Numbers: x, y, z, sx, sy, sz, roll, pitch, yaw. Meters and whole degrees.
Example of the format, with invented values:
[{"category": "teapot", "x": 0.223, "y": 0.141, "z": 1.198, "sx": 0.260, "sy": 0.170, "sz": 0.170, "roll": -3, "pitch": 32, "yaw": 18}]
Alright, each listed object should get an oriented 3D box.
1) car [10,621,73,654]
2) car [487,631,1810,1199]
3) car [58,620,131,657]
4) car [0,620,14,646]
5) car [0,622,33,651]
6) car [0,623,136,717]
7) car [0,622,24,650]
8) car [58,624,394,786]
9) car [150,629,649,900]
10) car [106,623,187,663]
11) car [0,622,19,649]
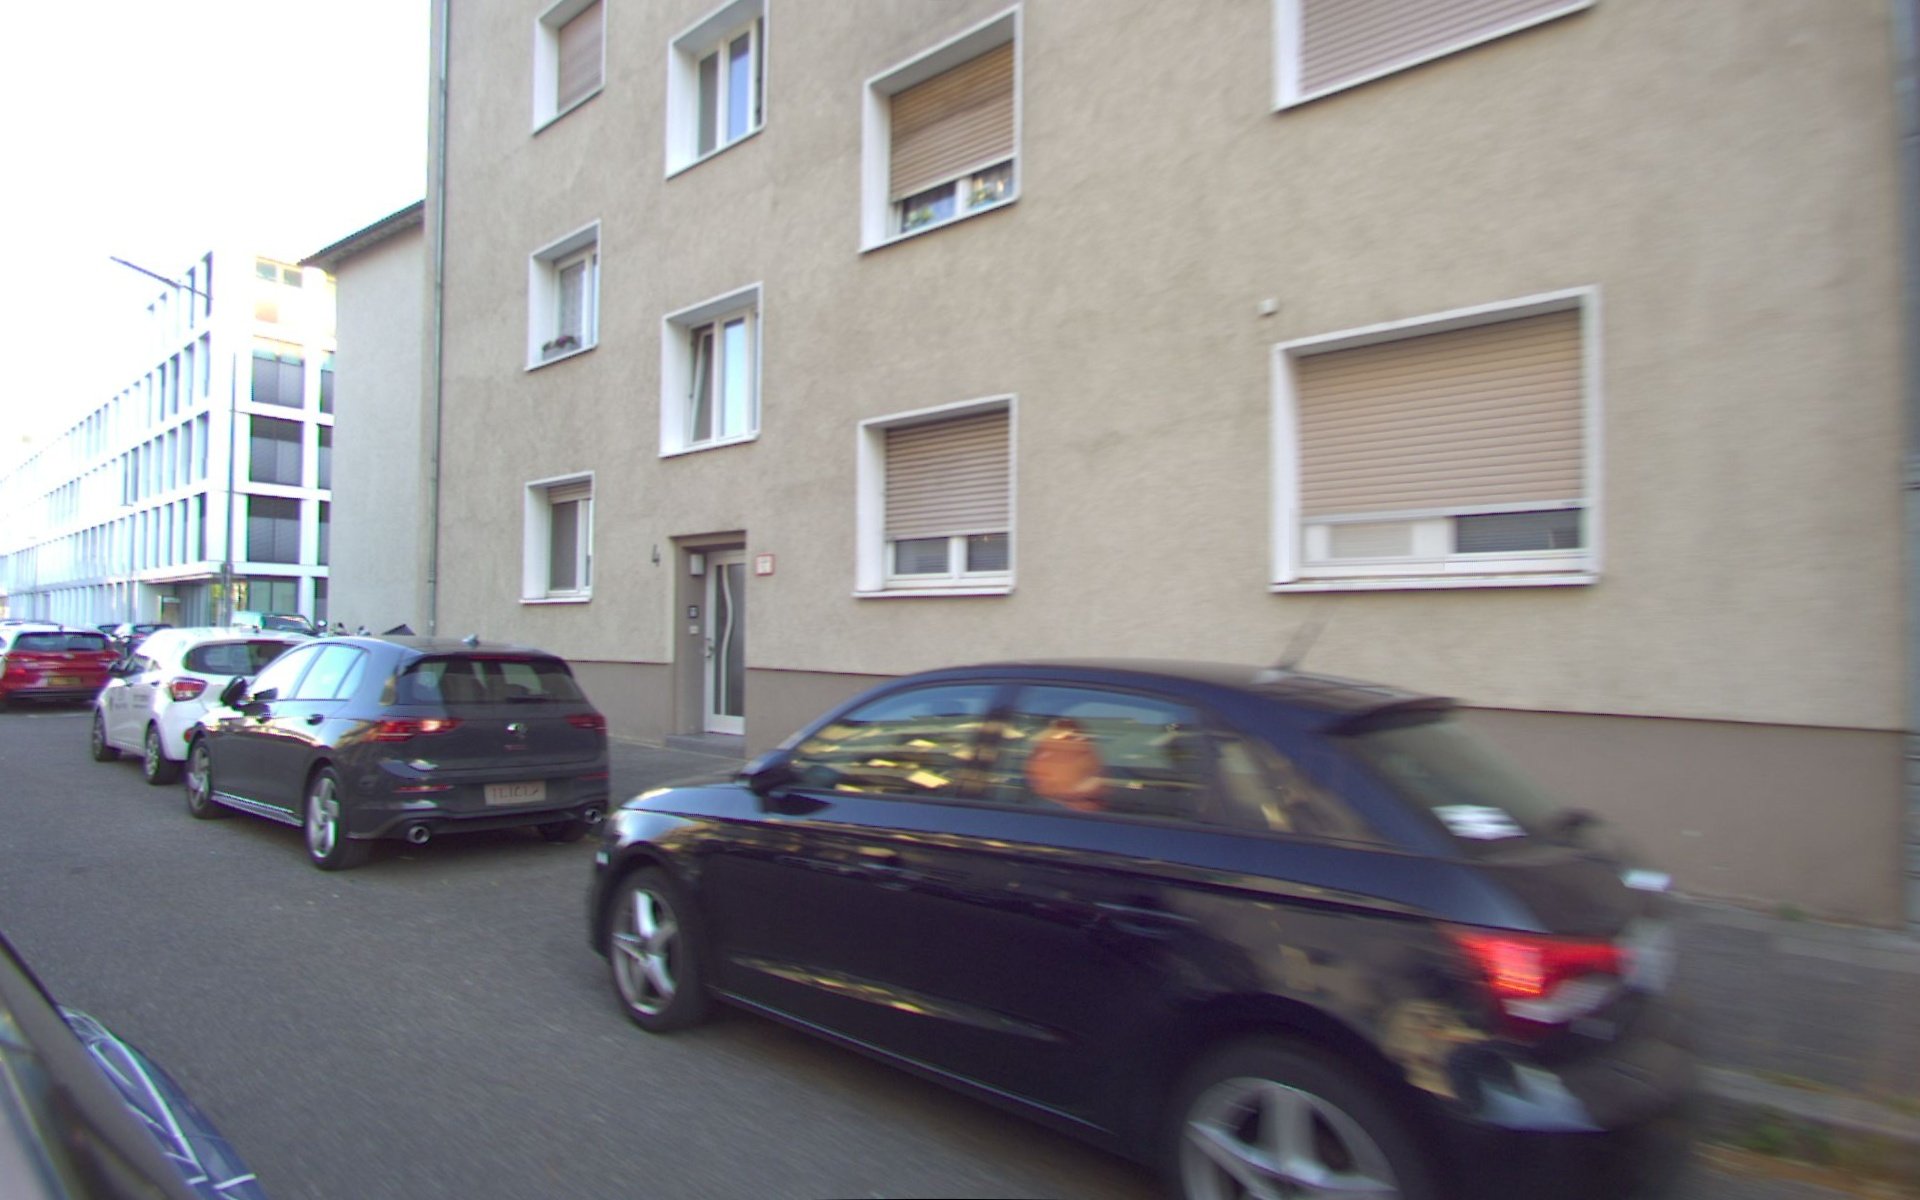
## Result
[{"category": "car", "x": -44.969, "y": 1.818, "z": 49.507, "sx": 4.001, "sy": 1.530, "sz": 1.971, "roll": -1, "pitch": -2, "yaw": 44}, {"category": "car", "x": 0.247, "y": 0.855, "z": 3.754, "sx": 4.428, "sy": 1.455, "sz": 1.973, "roll": -1, "pitch": -2, "yaw": 40}, {"category": "car", "x": -37.348, "y": 1.638, "z": 43.621, "sx": 4.001, "sy": 1.497, "sz": 1.971, "roll": -1, "pitch": -2, "yaw": 44}, {"category": "car", "x": -57.078, "y": 1.895, "z": 58.041, "sx": 2.000, "sy": 1.497, "sz": 3.943, "roll": -1, "pitch": -2, "yaw": 43}, {"category": "car", "x": -51.744, "y": 1.923, "z": 53.475, "sx": 2.000, "sy": 1.497, "sz": 3.943, "roll": -1, "pitch": -2, "yaw": 43}, {"category": "car", "x": -16.593, "y": 1.166, "z": 18.150, "sx": 4.427, "sy": 1.501, "sz": 1.974, "roll": -1, "pitch": -2, "yaw": 39}, {"category": "car", "x": -53.546, "y": 1.946, "z": 54.885, "sx": 2.000, "sy": 1.497, "sz": 3.943, "roll": -1, "pitch": -2, "yaw": 43}, {"category": "car", "x": -8.289, "y": 1.002, "z": 11.289, "sx": 4.427, "sy": 1.455, "sz": 1.974, "roll": -1, "pitch": -2, "yaw": 39}, {"category": "car", "x": -4.376, "y": 0.949, "z": 7.591, "sx": 4.427, "sy": 1.455, "sz": 1.770, "roll": -1, "pitch": -2, "yaw": 39}, {"category": "car", "x": -32.381, "y": 1.671, "z": 40.261, "sx": 4.001, "sy": 1.497, "sz": 1.971, "roll": -1, "pitch": -2, "yaw": 44}, {"category": "car", "x": -55.473, "y": 1.971, "z": 56.660, "sx": 2.000, "sy": 1.497, "sz": 3.943, "roll": -1, "pitch": -2, "yaw": 43}]
